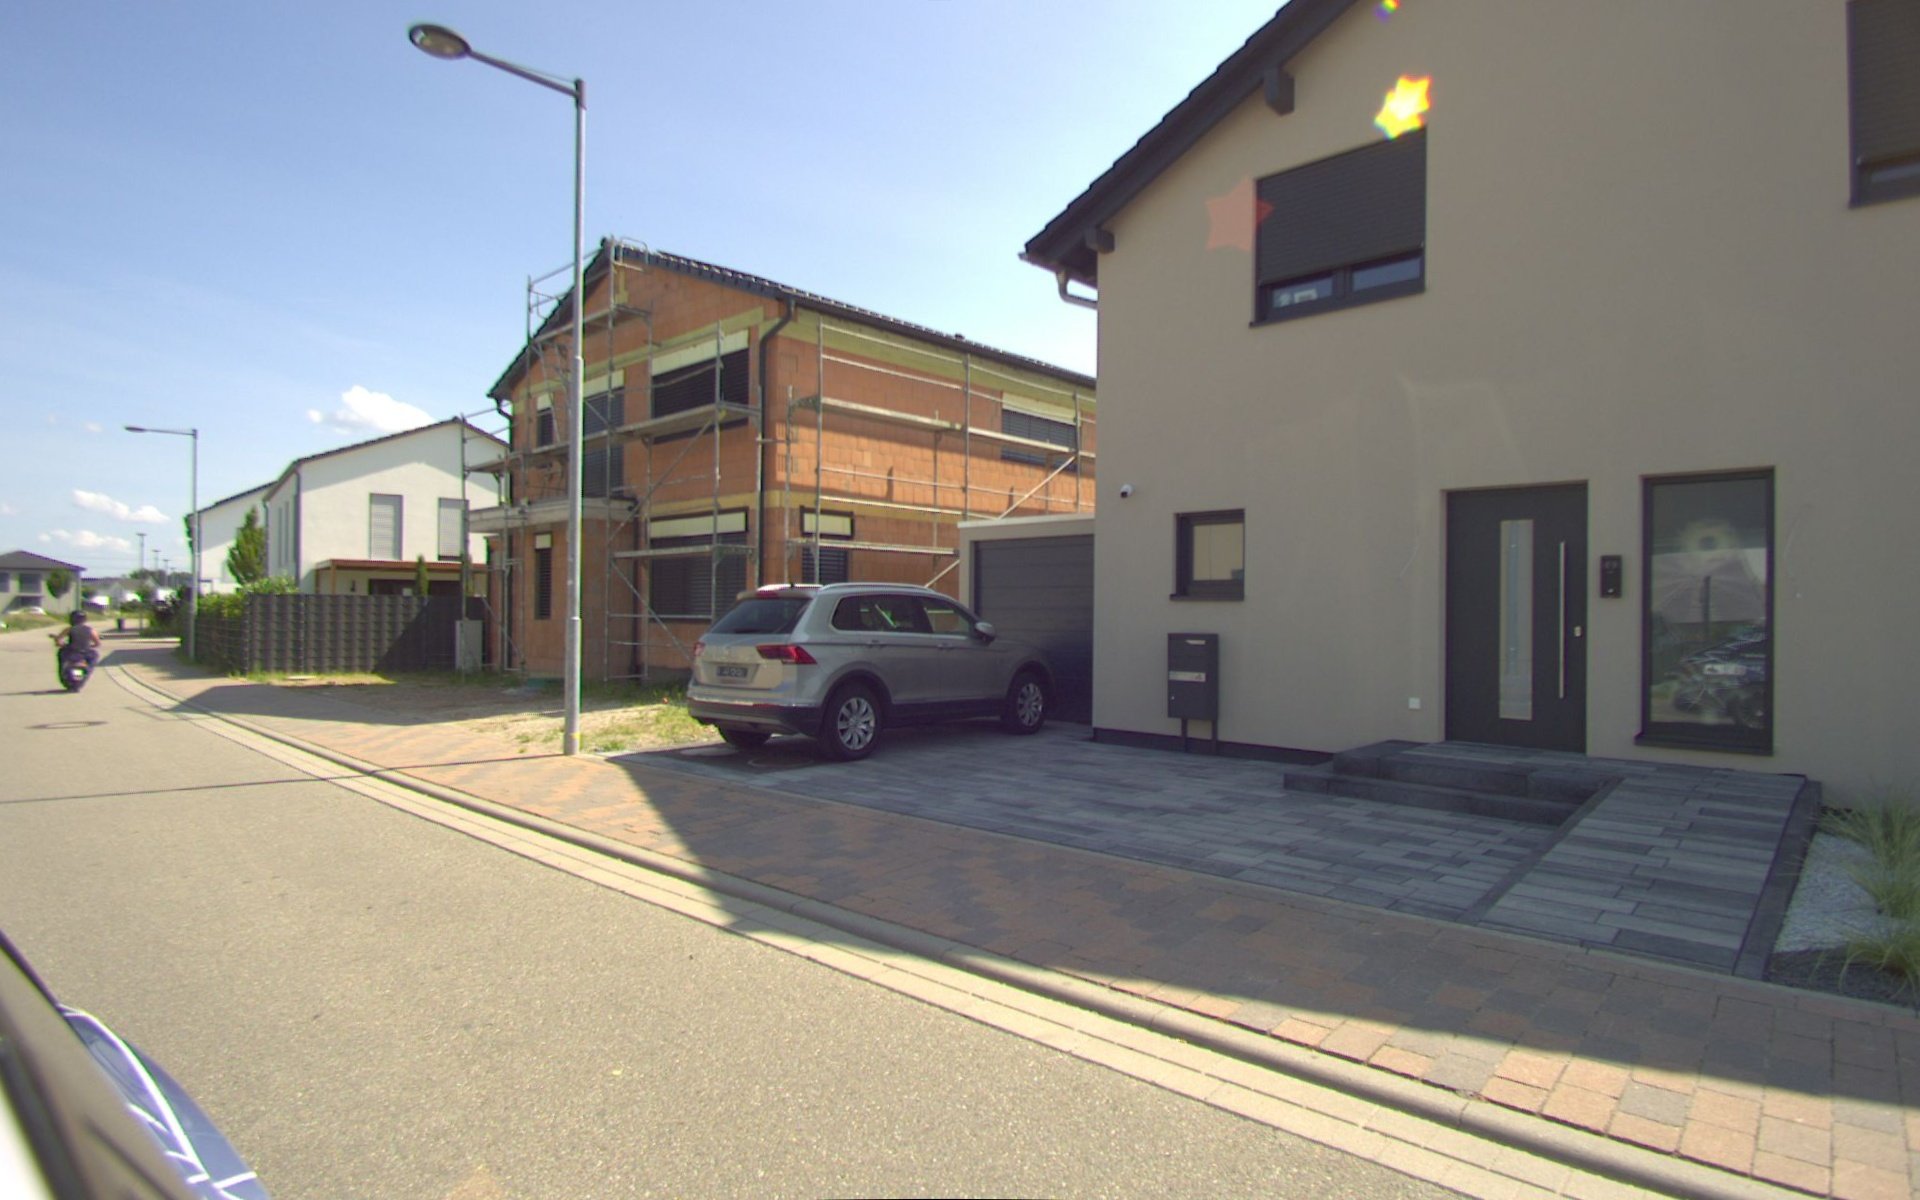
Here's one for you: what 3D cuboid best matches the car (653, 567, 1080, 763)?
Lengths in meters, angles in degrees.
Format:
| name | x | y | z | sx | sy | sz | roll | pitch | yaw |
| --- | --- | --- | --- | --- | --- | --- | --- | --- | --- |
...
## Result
| name | x | y | z | sx | sy | sz | roll | pitch | yaw |
| --- | --- | --- | --- | --- | --- | --- | --- | --- | --- |
| car | -0.778 | 0.595 | 10.766 | 1.999 | 1.624 | 4.379 | -1 | -2 | 40 |

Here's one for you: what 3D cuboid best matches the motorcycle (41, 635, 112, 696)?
| name | x | y | z | sx | sy | sz | roll | pitch | yaw |
| --- | --- | --- | --- | --- | --- | --- | --- | --- | --- |
| motorcycle | -16.948 | 1.211 | 19.399 | 0.944 | 1.043 | 2.439 | -2 | 0 | -42 |

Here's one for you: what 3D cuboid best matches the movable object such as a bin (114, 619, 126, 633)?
| name | x | y | z | sx | sy | sz | roll | pitch | yaw |
| --- | --- | --- | --- | --- | --- | --- | --- | --- | --- |
| movable object such as a bin | -54.349 | 1.671 | 65.489 | 0.588 | 0.928 | 0.462 | 1 | -1 | -36 |

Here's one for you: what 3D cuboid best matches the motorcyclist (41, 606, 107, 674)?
| name | x | y | z | sx | sy | sz | roll | pitch | yaw |
| --- | --- | --- | --- | --- | --- | --- | --- | --- | --- |
| motorcyclist | -16.945 | 0.756 | 19.356 | 0.913 | 1.232 | 0.804 | -2 | 0 | -43 |
